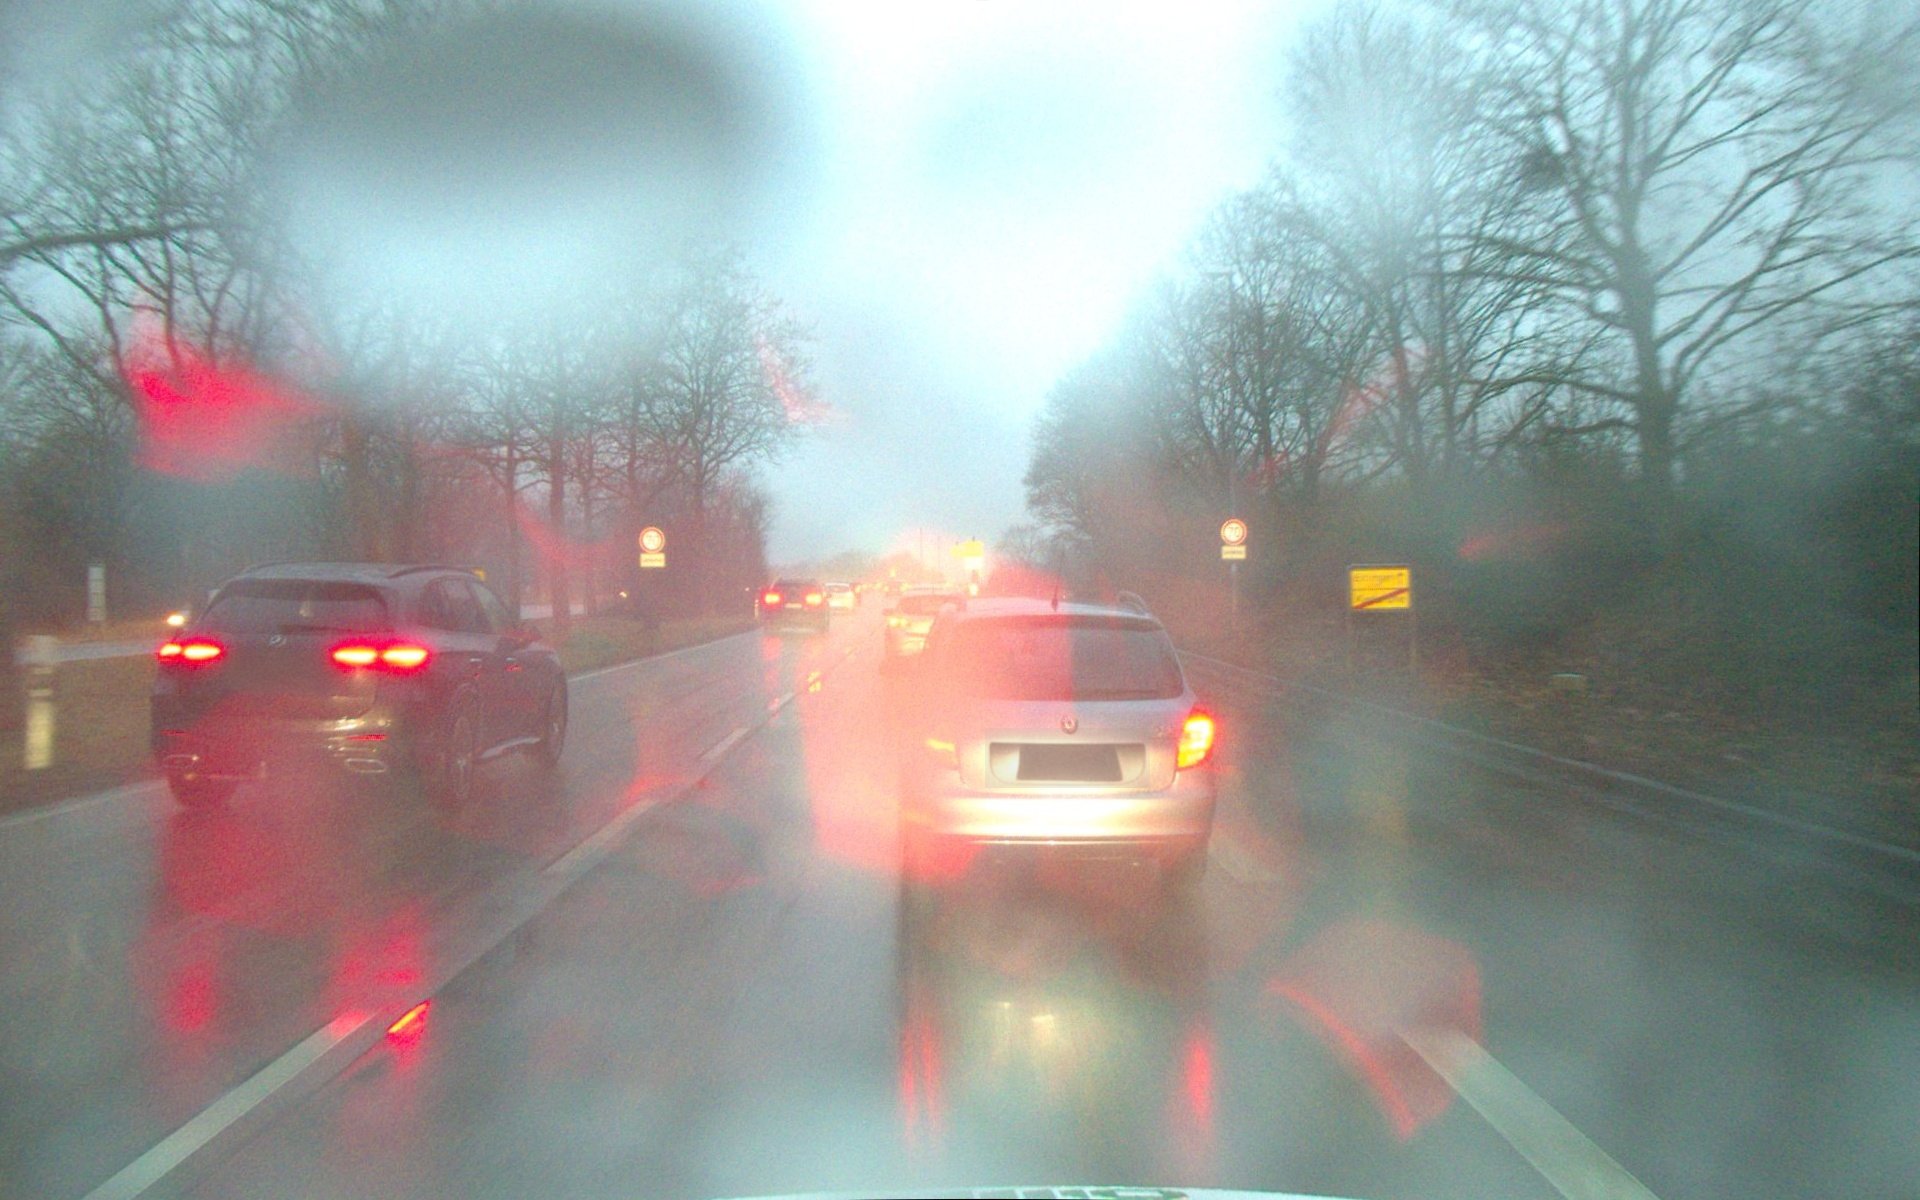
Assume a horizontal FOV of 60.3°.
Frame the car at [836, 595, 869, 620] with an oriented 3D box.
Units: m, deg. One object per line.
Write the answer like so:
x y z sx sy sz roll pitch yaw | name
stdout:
-6.524 0.444 100.582 1.753 1.509 3.999 -1 0 -1 | car

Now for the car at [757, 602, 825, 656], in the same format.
-5.180 0.864 51.091 1.753 1.572 3.999 0 0 -1 | car

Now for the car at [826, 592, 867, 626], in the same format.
-5.380 0.406 78.751 1.753 1.572 3.999 -1 0 -1 | car

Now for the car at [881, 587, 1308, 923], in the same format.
0.588 0.713 9.654 1.953 1.527 4.137 0 0 -1 | car

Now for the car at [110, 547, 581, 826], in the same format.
-4.171 0.515 12.076 1.954 1.629 4.306 1 0 -3 | car

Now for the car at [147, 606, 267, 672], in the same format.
-21.153 1.058 46.618 1.584 1.711 3.980 0 0 -1 | car

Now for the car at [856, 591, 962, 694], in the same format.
-0.923 0.754 31.287 1.859 1.798 4.307 0 0 -1 | car
